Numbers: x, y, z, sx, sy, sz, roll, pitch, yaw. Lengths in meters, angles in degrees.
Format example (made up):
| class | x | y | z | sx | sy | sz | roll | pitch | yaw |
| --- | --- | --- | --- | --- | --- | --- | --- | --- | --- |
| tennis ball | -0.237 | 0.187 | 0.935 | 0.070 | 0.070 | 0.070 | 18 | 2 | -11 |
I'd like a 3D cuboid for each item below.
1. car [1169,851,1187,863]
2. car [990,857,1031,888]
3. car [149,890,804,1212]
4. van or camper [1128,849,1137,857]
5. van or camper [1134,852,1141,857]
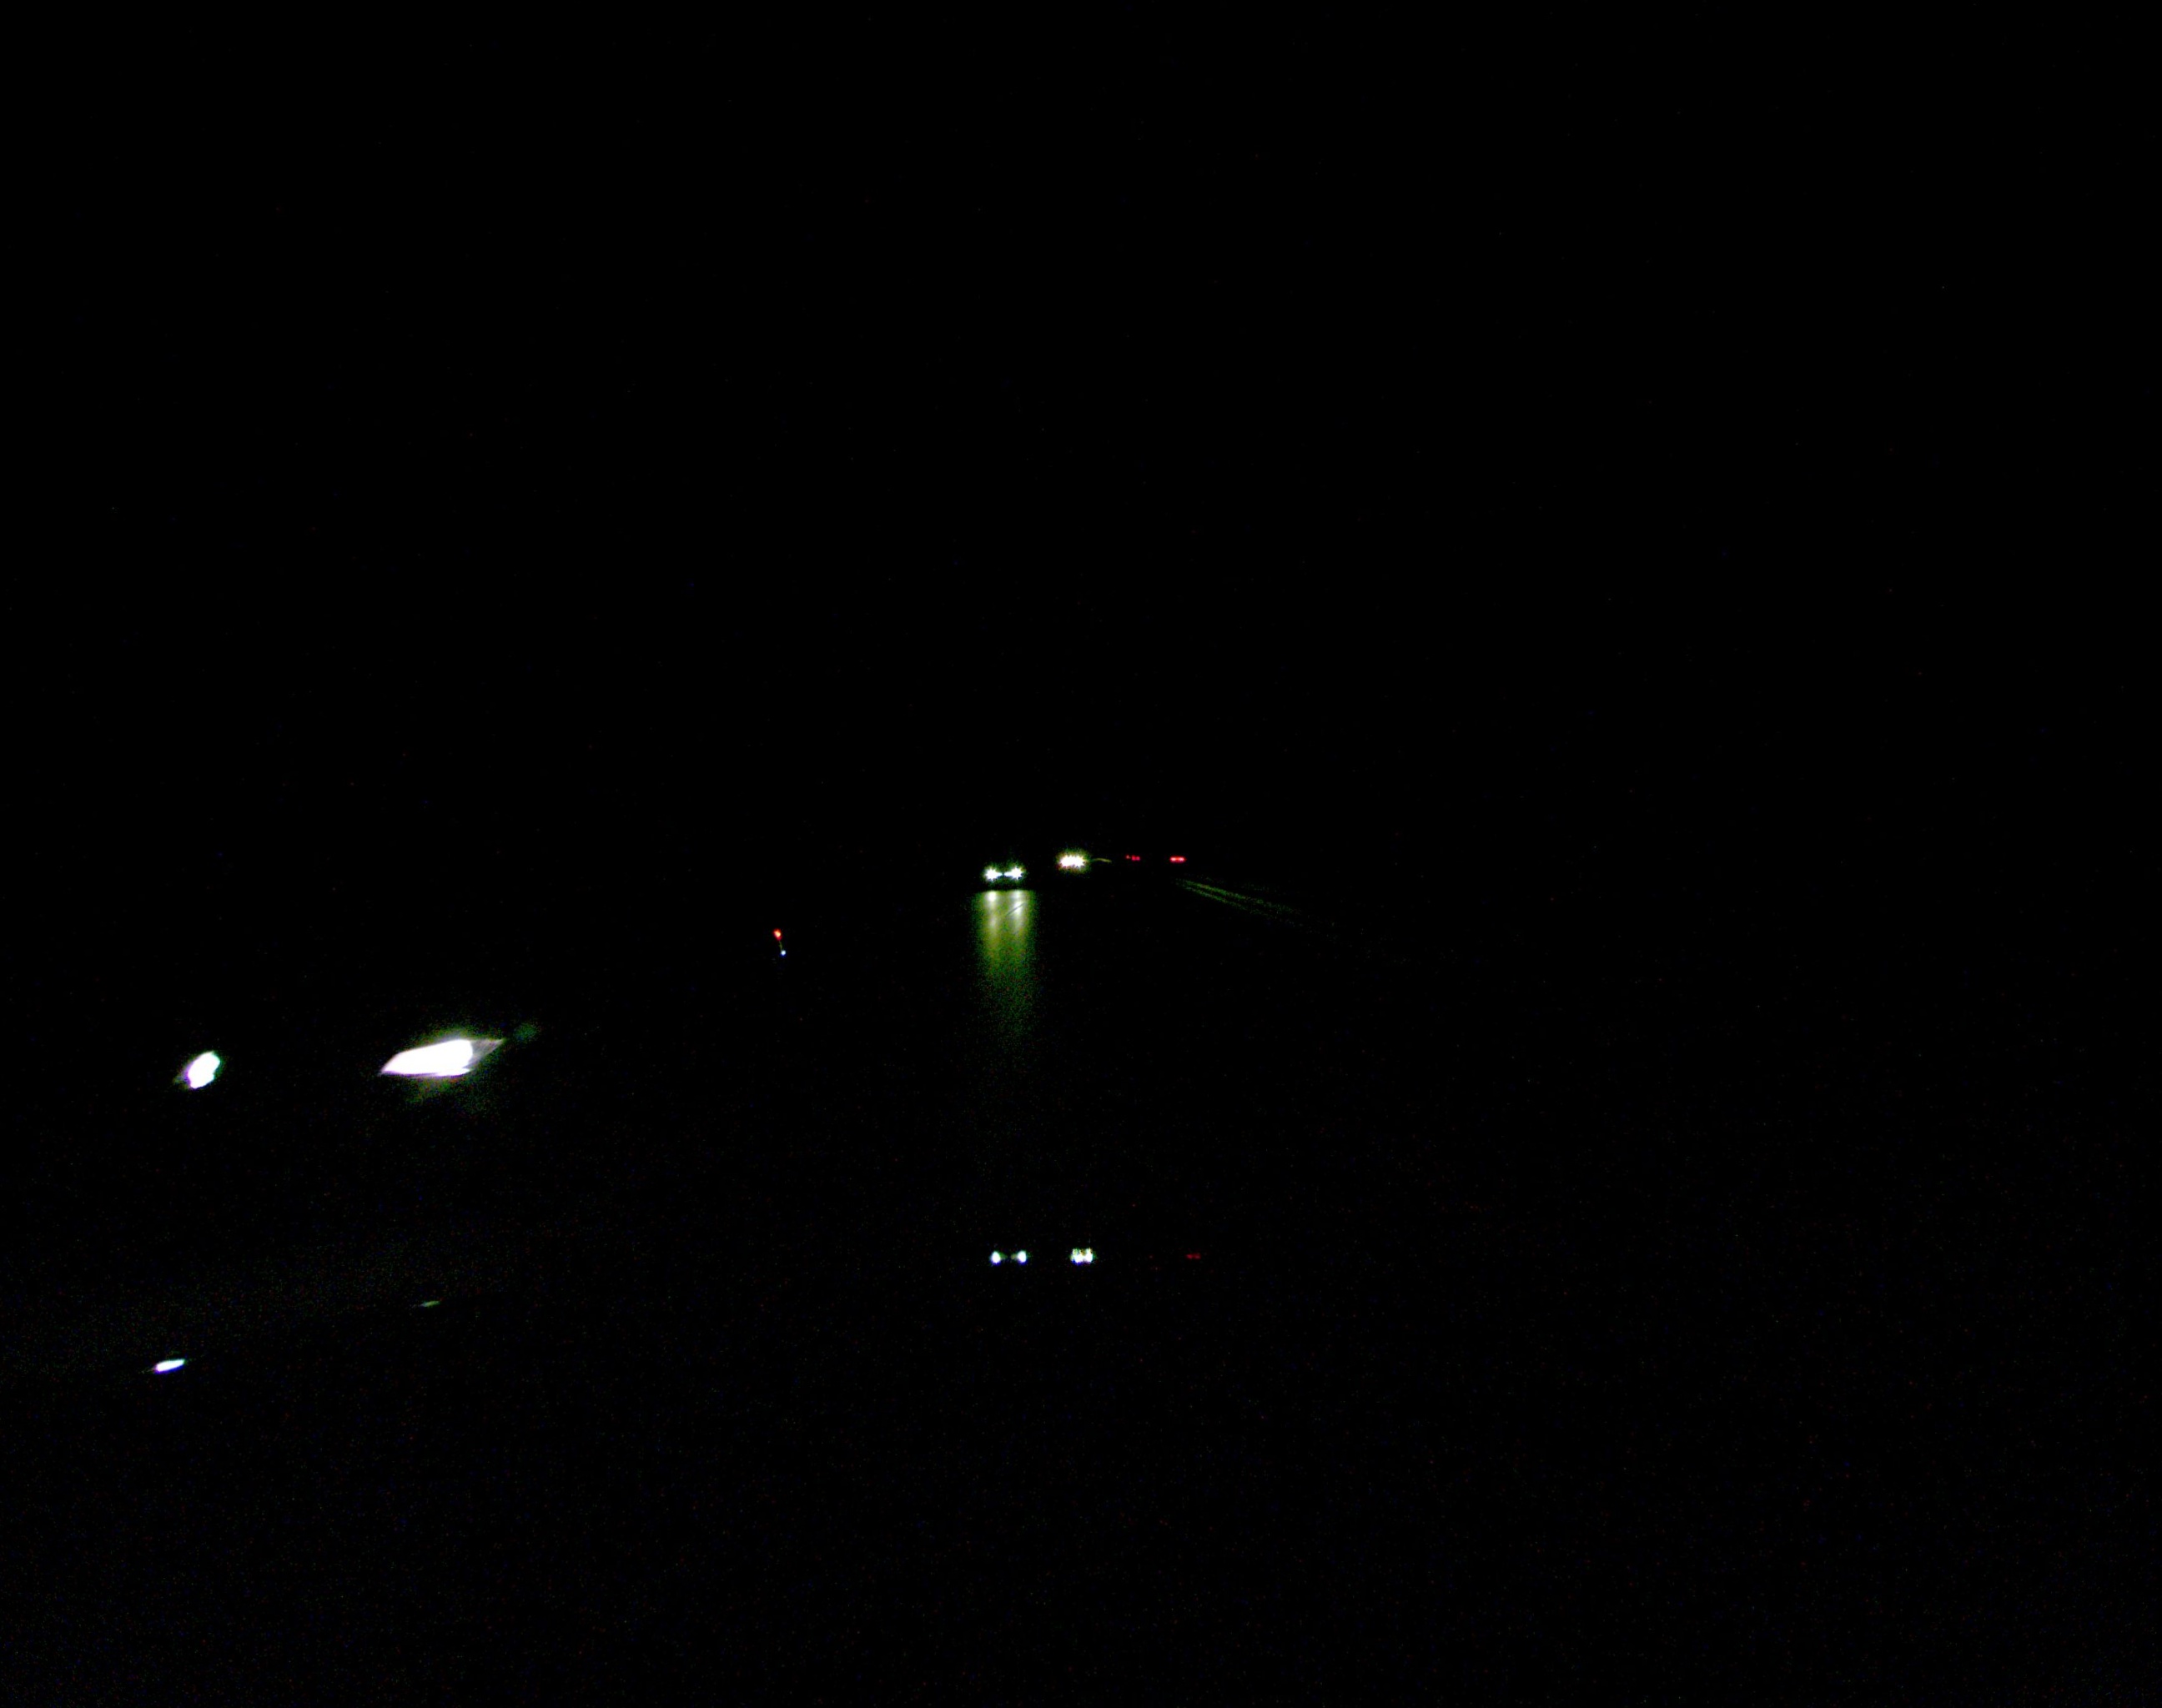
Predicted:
| class | x | y | z | sx | sy | sz | roll | pitch | yaw |
| --- | --- | --- | --- | --- | --- | --- | --- | --- | --- |
| car | 14.901 | 0.492 | 116.952 | 1.998 | 1.628 | 5.075 | 2 | -1 | 0 |
| car | -3.919 | 0.995 | 42.688 | 1.795 | 1.532 | 4.225 | -2 | 0 | 1 |
| car | -3.841 | 1.110 | 5.973 | 1.690 | 1.405 | 4.225 | -1 | 0 | 1 |
| van or camper | 16.806 | -0.387 | 246.965 | 2.335 | 2.616 | 7.776 | 1 | 1 | 1 |
| van or camper | 16.135 | 0.199 | 218.058 | 1.784 | 1.433 | 5.102 | 2 | 1 | 1 |
